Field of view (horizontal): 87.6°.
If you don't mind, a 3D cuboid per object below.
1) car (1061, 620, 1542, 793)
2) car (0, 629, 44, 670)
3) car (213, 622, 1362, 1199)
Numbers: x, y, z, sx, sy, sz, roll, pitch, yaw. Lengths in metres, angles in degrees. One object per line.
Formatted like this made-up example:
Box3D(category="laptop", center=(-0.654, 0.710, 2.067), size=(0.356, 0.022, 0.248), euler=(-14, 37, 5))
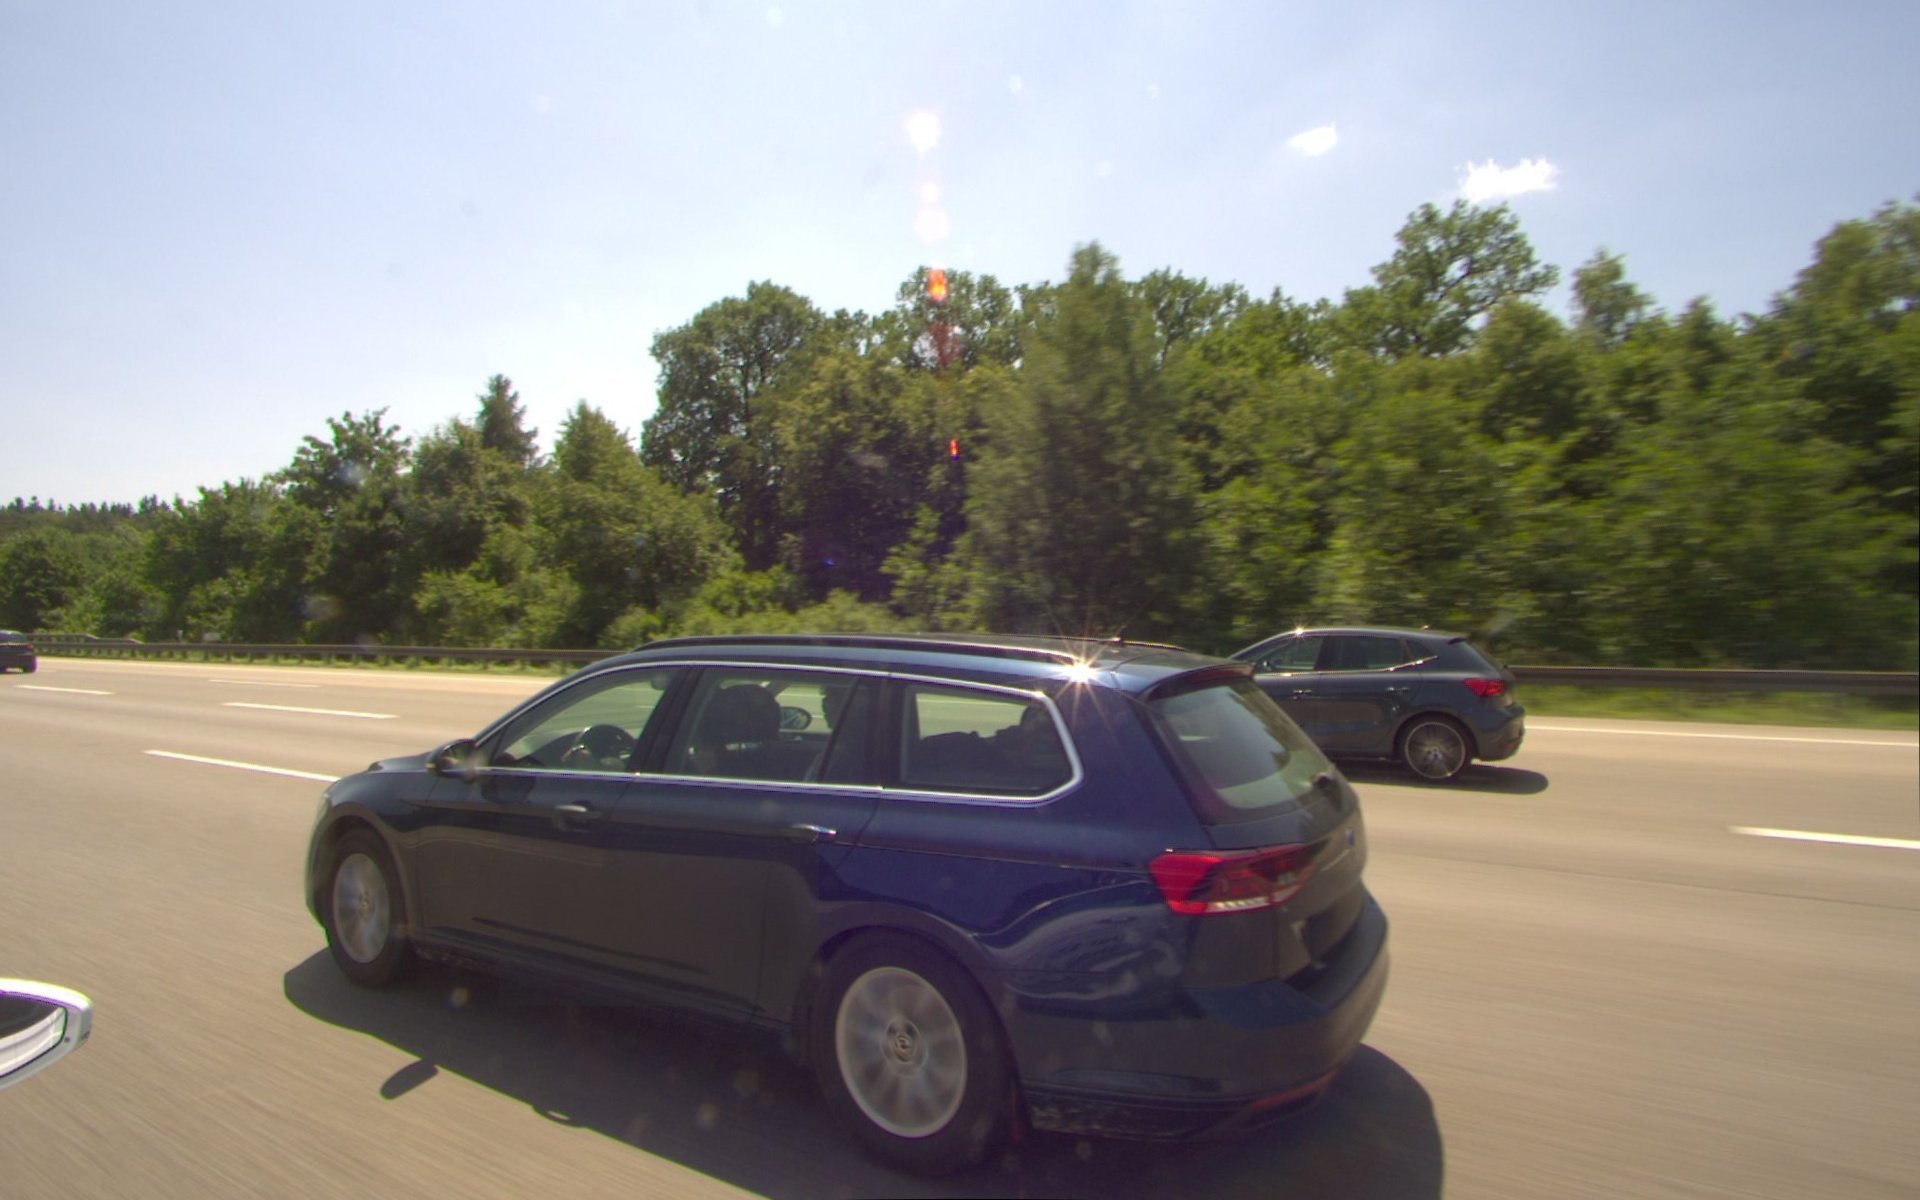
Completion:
Box3D(category="car", center=(3.484, 0.968, 10.572), size=(4.568, 1.457, 1.640), euler=(0, -1, 32))
Box3D(category="car", center=(-32.217, 1.648, 33.214), size=(4.230, 1.290, 1.667), euler=(-2, -2, 32))
Box3D(category="car", center=(-1.069, 0.832, 4.191), size=(4.891, 1.466, 1.726), euler=(-1, -1, 33))
